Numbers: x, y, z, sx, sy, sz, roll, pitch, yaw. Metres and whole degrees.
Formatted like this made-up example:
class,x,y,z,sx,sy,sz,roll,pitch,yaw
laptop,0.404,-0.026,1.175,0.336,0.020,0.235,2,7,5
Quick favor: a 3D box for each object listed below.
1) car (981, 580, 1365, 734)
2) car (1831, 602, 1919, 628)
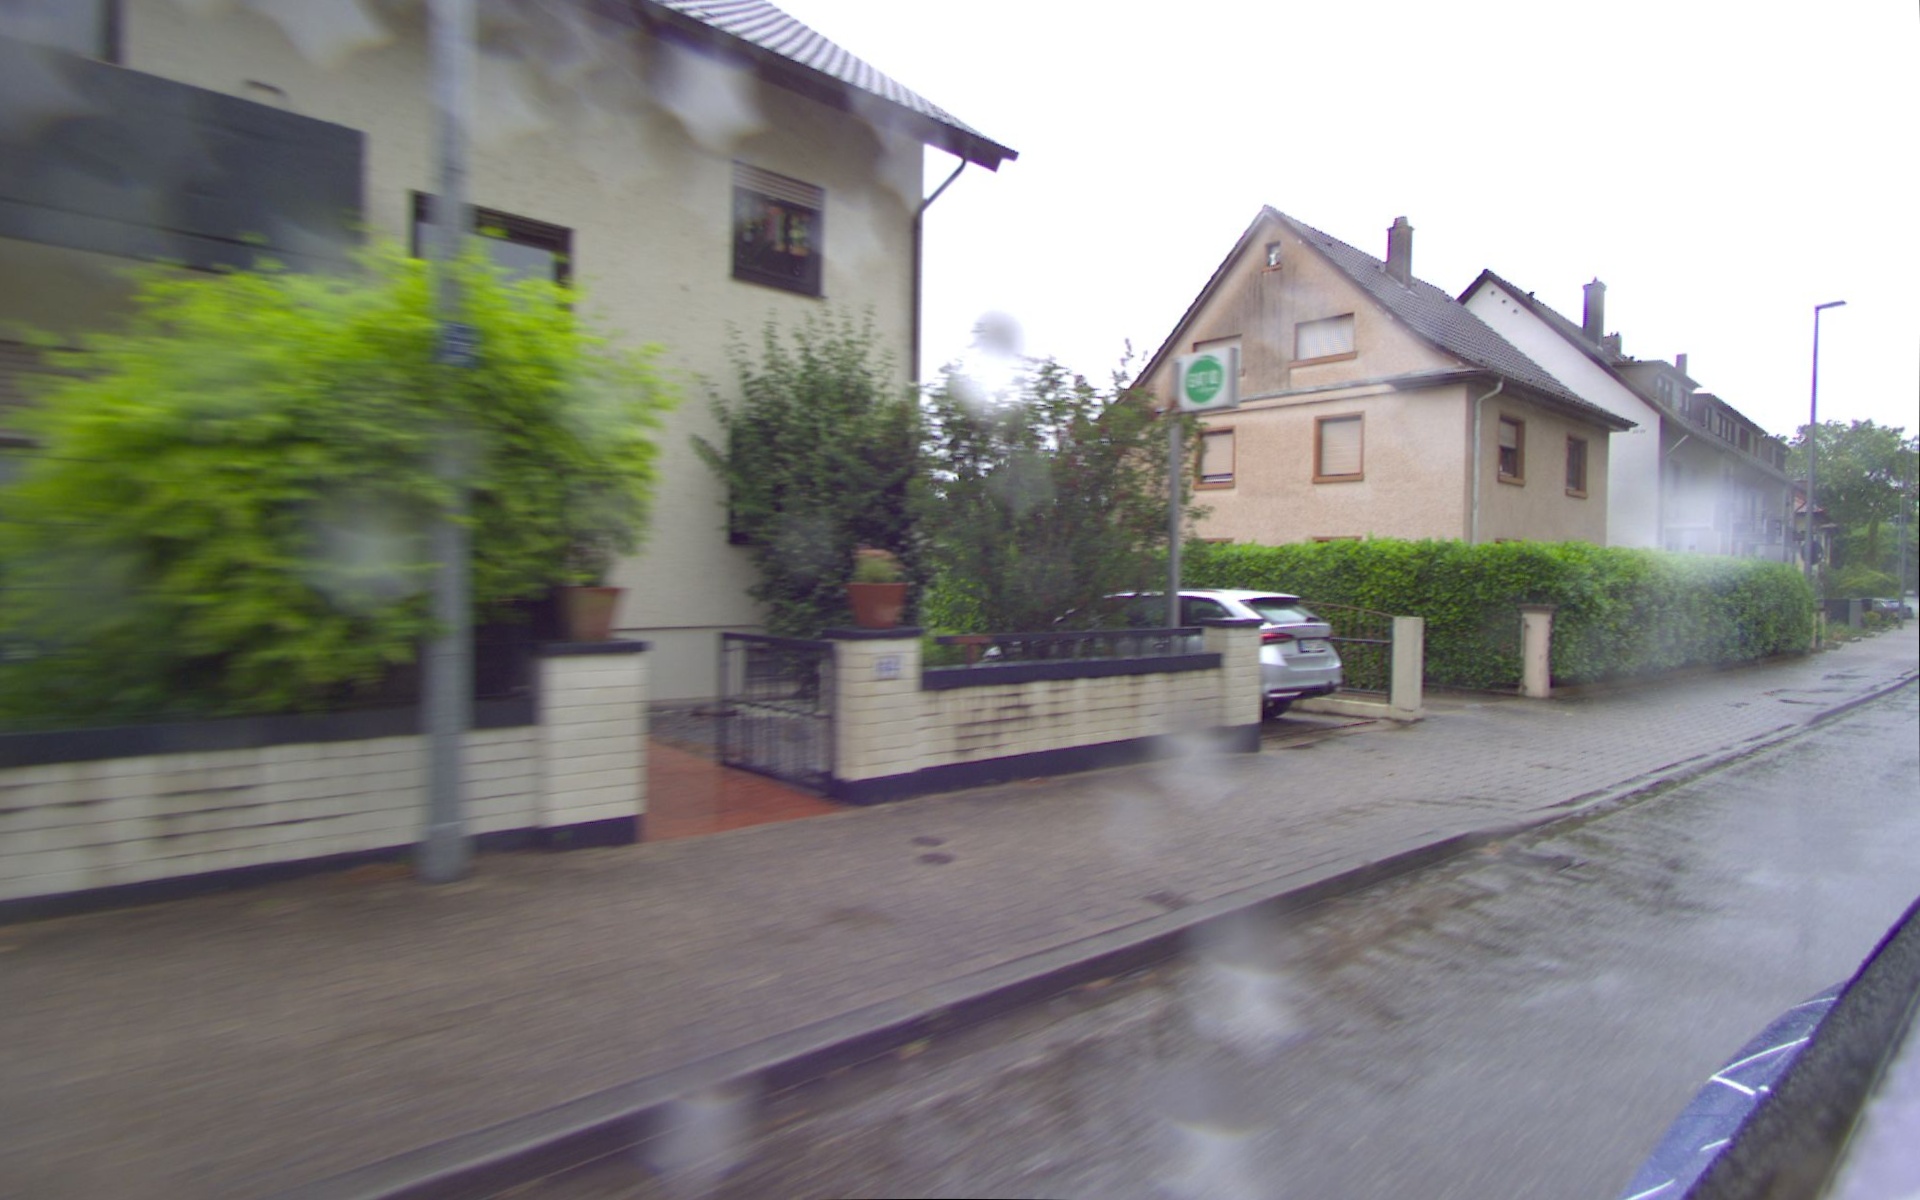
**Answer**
class,x,y,z,sx,sy,sz,roll,pitch,yaw
car,2.285,0.580,11.776,1.673,1.464,4.226,1,-2,-42
car,53.825,0.853,58.982,1.879,1.381,4.391,-1,1,-12
